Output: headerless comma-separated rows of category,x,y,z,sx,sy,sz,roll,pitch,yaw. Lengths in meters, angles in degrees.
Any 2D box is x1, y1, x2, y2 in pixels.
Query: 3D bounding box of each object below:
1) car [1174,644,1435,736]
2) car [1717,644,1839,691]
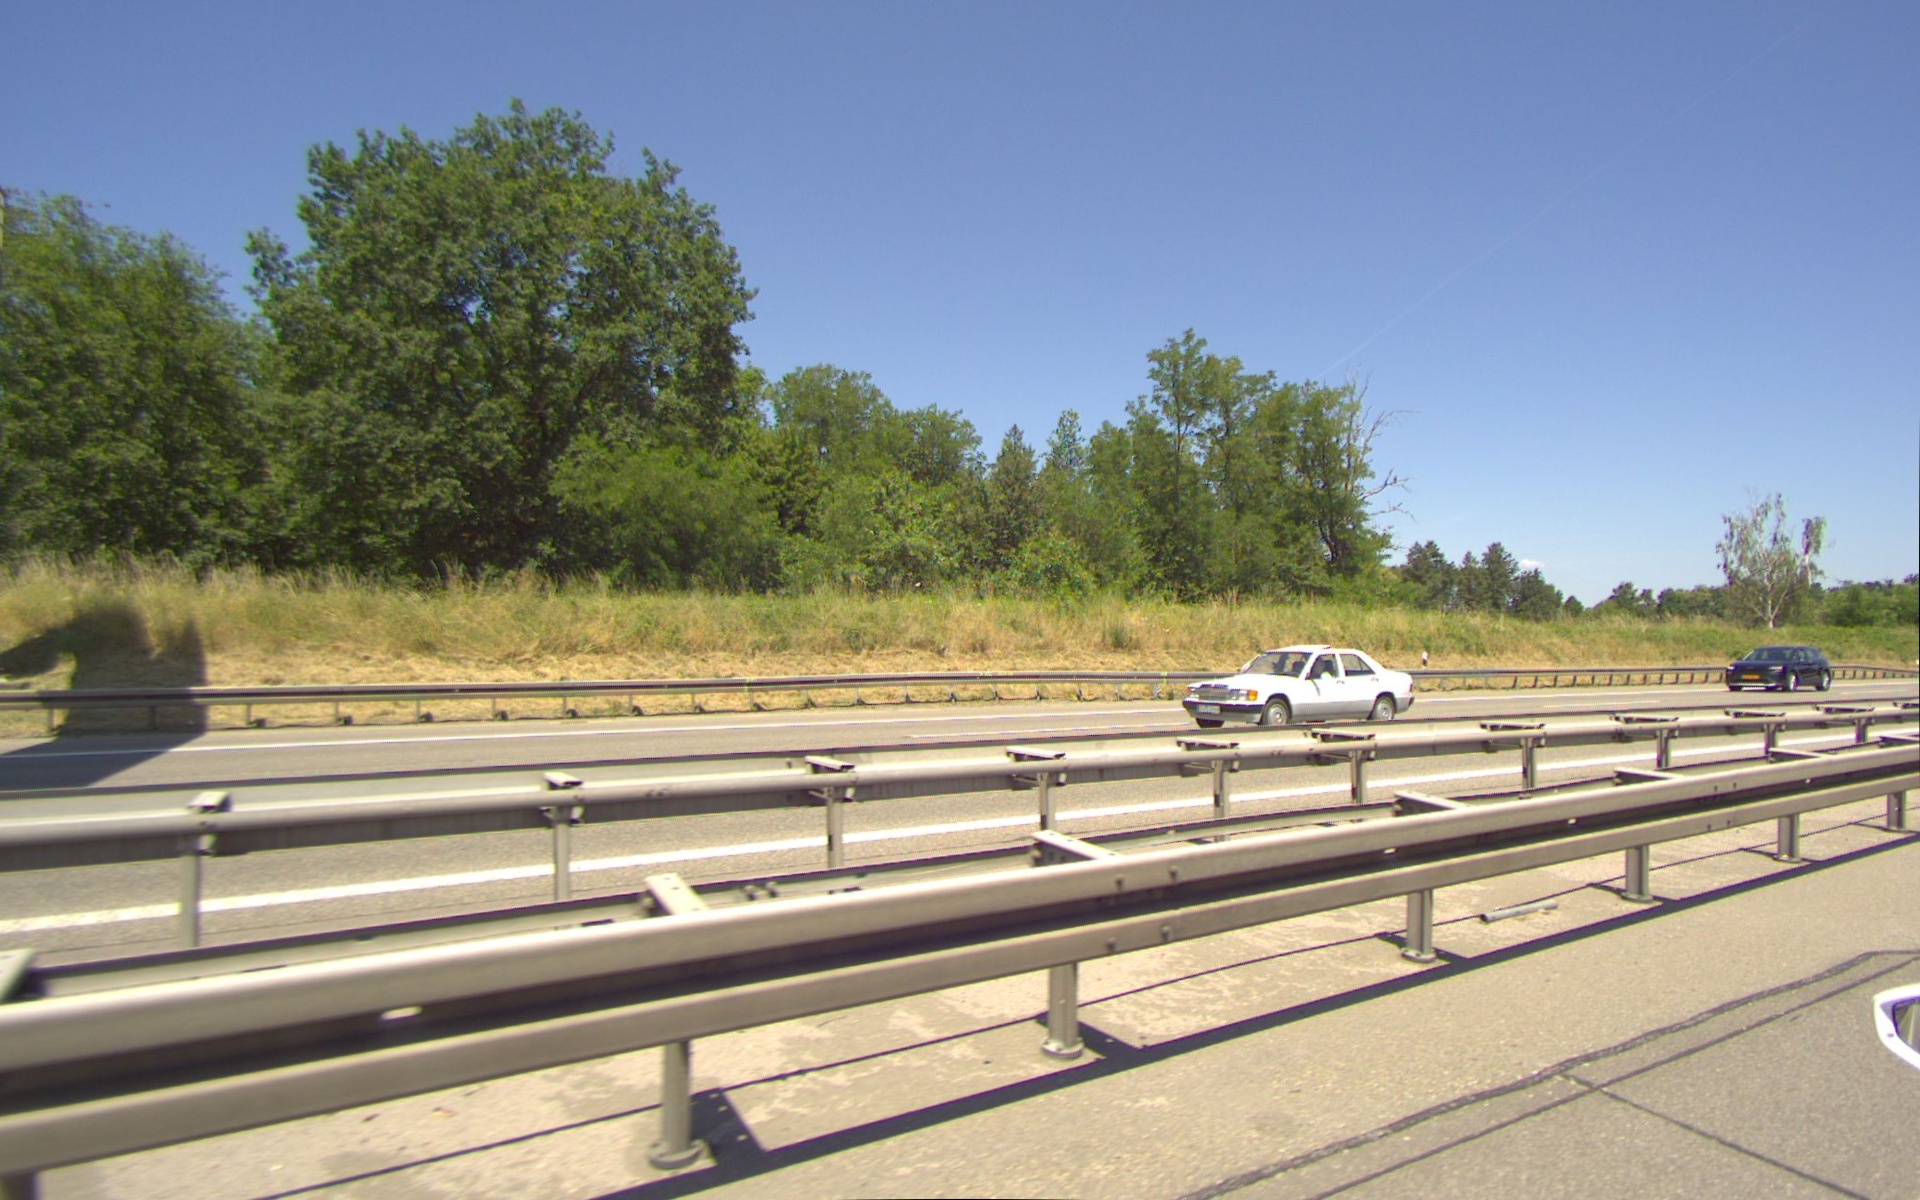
car,5.996,1.480,17.368,4.427,1.414,1.799,2,-3,-30
car,29.339,2.376,36.003,4.893,1.574,1.823,2,-3,-31
